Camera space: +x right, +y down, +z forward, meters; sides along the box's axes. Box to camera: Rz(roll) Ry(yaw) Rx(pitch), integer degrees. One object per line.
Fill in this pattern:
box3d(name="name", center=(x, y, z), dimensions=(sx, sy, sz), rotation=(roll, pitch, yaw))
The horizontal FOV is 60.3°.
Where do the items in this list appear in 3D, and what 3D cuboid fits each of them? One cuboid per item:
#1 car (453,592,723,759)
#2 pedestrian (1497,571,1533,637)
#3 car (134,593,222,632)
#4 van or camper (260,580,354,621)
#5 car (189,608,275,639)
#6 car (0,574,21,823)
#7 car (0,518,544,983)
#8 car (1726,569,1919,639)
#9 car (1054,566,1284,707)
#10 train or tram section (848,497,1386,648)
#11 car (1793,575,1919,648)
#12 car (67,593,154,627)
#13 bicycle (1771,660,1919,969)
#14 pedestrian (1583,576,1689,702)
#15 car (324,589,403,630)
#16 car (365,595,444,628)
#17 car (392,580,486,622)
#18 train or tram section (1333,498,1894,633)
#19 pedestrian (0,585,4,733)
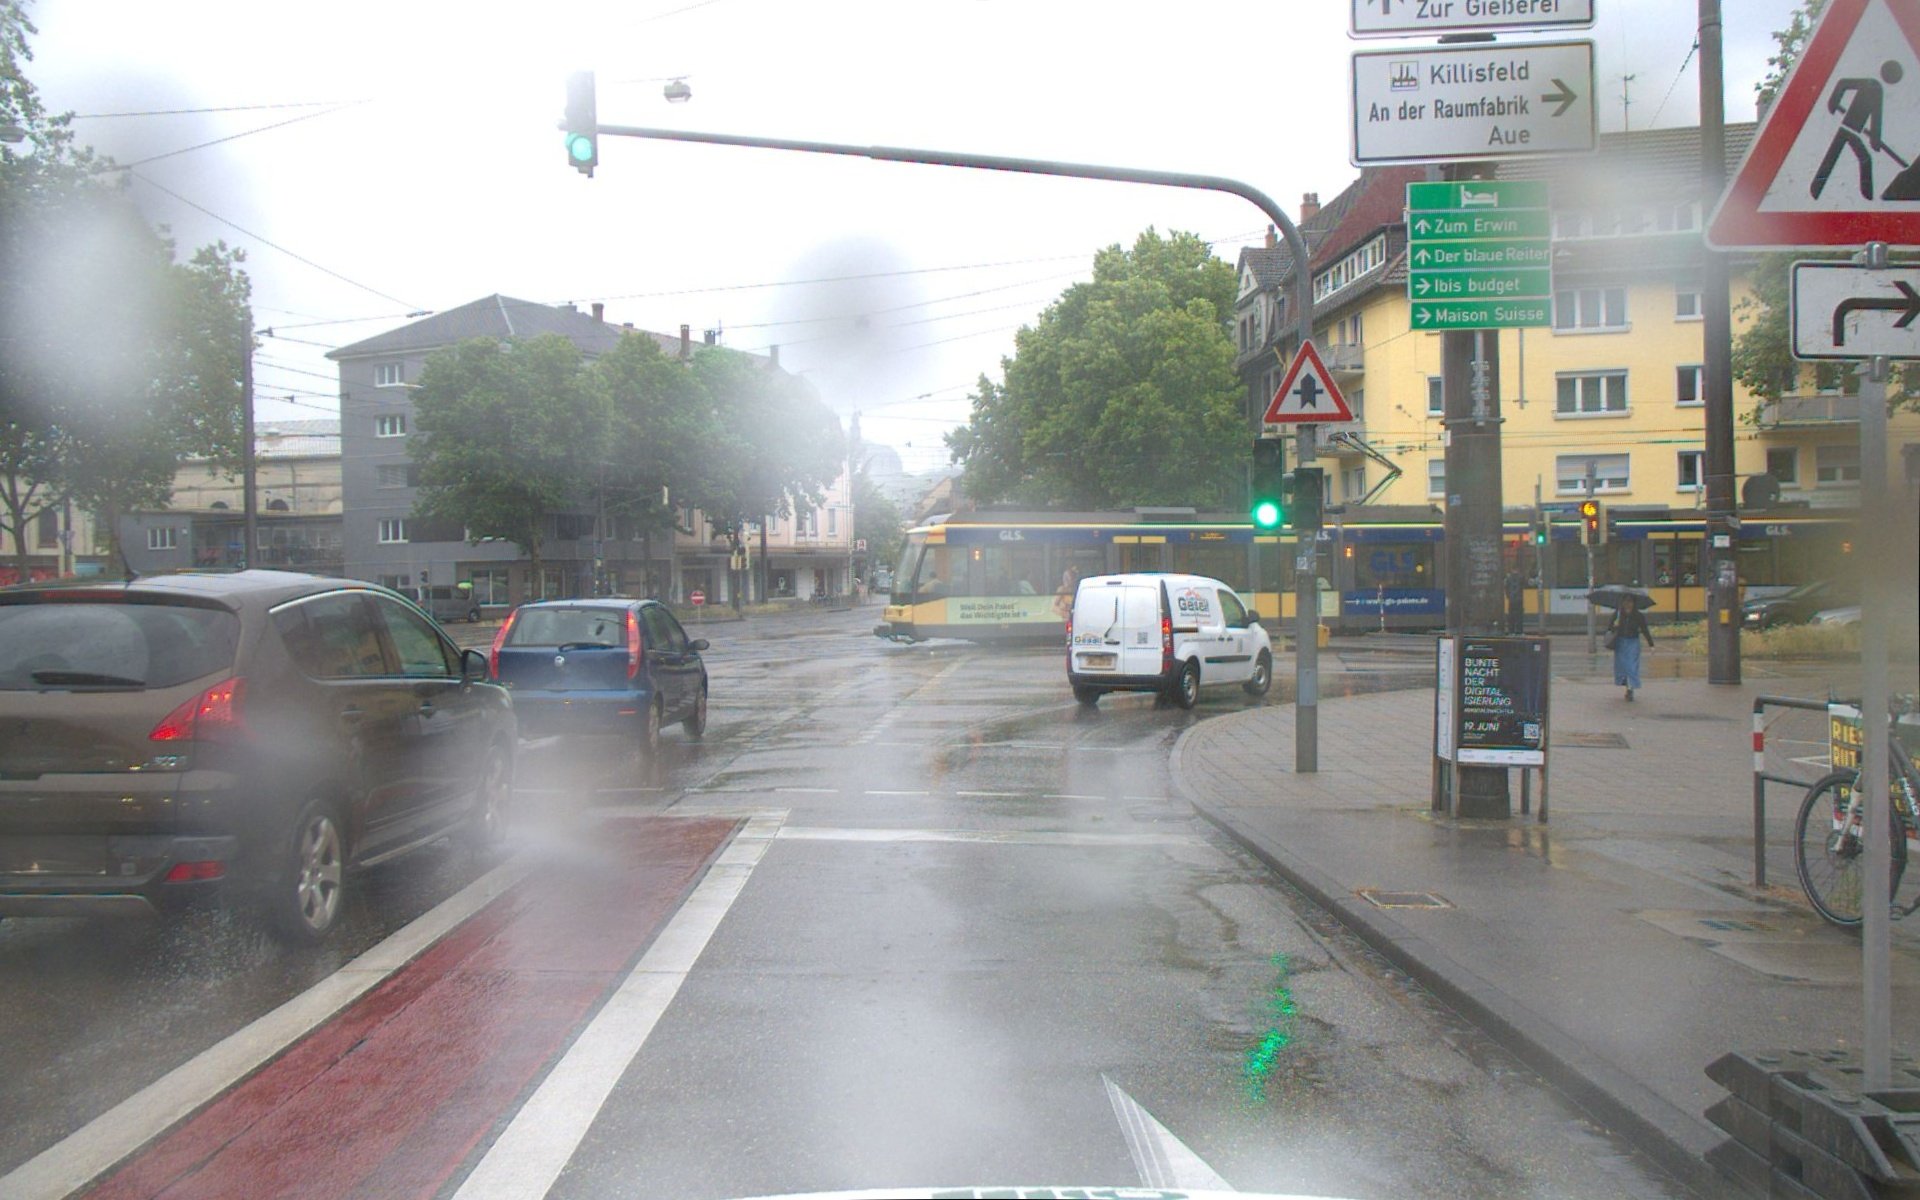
box3d(name="car", center=(-3.594, 0.722, 16.687), dimensions=(1.844, 1.485, 3.831), rotation=(0, -1, 0))
box3d(name="pedestrian", center=(14.696, 0.101, 43.795), dimensions=(0.796, 1.706, 1.016), rotation=(0, 1, 25))
box3d(name="car", center=(-42.948, 0.690, 90.903), dimensions=(1.956, 2.049, 3.993), rotation=(1, 0, 29))
box3d(name="van or camper", center=(-34.278, 0.023, 86.967), dimensions=(1.953, 2.111, 4.654), rotation=(0, 0, 22))
box3d(name="car", center=(-39.096, 1.279, 88.910), dimensions=(1.953, 1.642, 3.998), rotation=(0, -1, 24))
box3d(name="car", center=(-6.921, 0.668, 8.487), dimensions=(1.769, 1.563, 4.191), rotation=(-1, 1, 0))
box3d(name="car", center=(-3.497, 0.515, 8.267), dimensions=(1.764, 1.739, 4.191), rotation=(0, 1, 0))
box3d(name="car", center=(20.663, 0.076, 39.189), dimensions=(4.179, 1.528, 1.881), rotation=(-1, 1, 8))
box3d(name="car", center=(3.114, 0.437, 23.985), dimensions=(1.868, 1.828, 4.106), rotation=(1, 2, 30))
box3d(name="train or tram section", center=(4.317, -0.760, 43.623), dimensions=(14.320, 3.620, 3.097), rotation=(-1, 1, -21))
box3d(name="car", center=(20.758, 0.222, 35.996), dimensions=(4.390, 1.515, 1.742), rotation=(-1, 1, 13))
box3d(name="car", center=(-48.458, 0.578, 94.425), dimensions=(1.956, 1.794, 3.994), rotation=(-1, 1, 29))
box3d(name="bicycle", center=(4.129, 0.910, 6.999), dimensions=(0.413, 1.188, 1.792), rotation=(2, 1, -2))
box3d(name="pedestrian", center=(9.450, 0.520, 23.135), dimensions=(1.087, 1.696, 0.991), rotation=(1, 1, 44))
box3d(name="car", center=(-31.297, 0.465, 86.911), dimensions=(1.951, 2.048, 4.003), rotation=(0, 1, 16))
box3d(name="car", center=(-28.985, 0.609, 86.448), dimensions=(1.909, 1.654, 4.002), rotation=(1, 0, 18))
box3d(name="car", center=(-26.637, 0.022, 84.687), dimensions=(2.022, 2.048, 4.391), rotation=(1, 1, 29))
box3d(name="train or tram section", center=(17.907, -0.974, 46.095), dimensions=(14.322, 3.620, 3.117), rotation=(0, 1, 2))
box3d(name="pedestrian", center=(-11.116, 0.658, 18.387), dimensions=(0.728, 1.638, 0.707), rotation=(-1, 1, -39))
